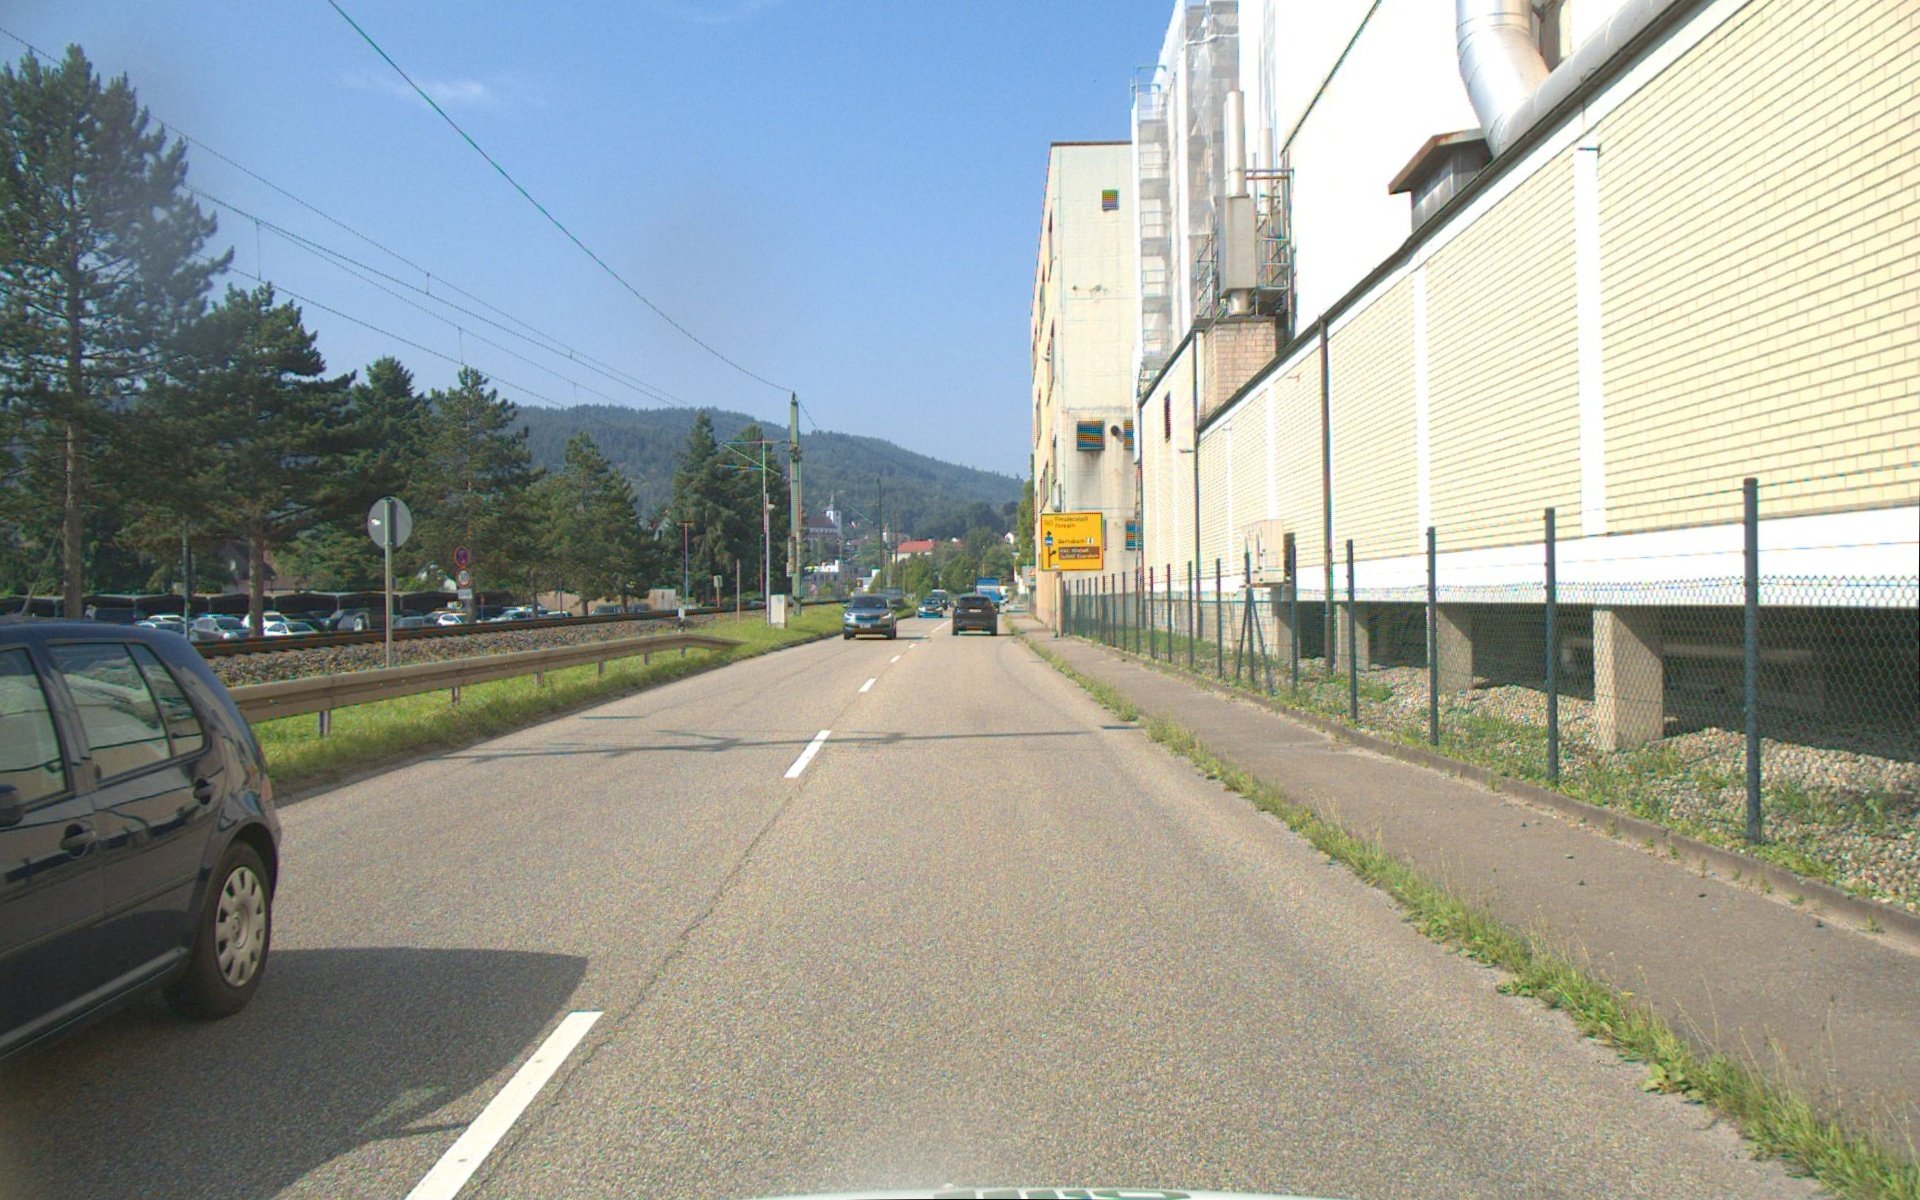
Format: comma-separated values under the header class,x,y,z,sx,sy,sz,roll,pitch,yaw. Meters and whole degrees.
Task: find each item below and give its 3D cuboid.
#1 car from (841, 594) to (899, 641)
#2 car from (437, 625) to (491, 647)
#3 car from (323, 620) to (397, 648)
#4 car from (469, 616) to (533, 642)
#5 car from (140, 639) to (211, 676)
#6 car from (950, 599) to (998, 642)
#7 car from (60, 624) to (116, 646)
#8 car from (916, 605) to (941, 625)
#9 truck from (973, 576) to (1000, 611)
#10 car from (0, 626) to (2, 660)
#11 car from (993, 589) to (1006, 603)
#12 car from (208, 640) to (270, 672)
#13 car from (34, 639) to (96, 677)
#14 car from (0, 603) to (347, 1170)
class,x,y,z,sx,sy,sz,roll,pitch,yaw
car,-3.297,0.640,61.219,1.867,1.628,4.570,-1,-1,0
car,-32.278,2.345,107.582,3.463,1.348,1.453,-2,0,34
car,-32.784,1.859,90.444,1.494,1.381,3.496,-2,0,44
car,-31.875,2.028,114.855,3.949,1.668,1.978,-1,0,-32
car,-33.467,2.436,70.536,1.674,1.469,3.792,-1,0,-43
car,0.622,0.812,68.041,1.880,1.668,4.001,-1,0,1
car,-58.491,2.339,110.915,3.453,1.348,1.457,-2,0,22
car,-2.364,1.110,125.019,1.731,1.430,4.296,-2,0,0
truck,2.379,-0.589,150.365,2.265,3.022,5.964,-1,0,-1
car,-48.057,2.116,80.513,1.674,1.671,3.792,-1,0,-43
car,5.345,-0.584,222.684,1.632,1.854,3.752,-1,0,2
car,-35.719,2.755,81.931,1.674,1.533,3.792,-1,0,-43
car,-42.272,2.729,78.072,1.674,1.671,3.792,-1,0,-43
car,-3.318,0.744,4.625,1.728,1.427,4.119,-1,0,-1
